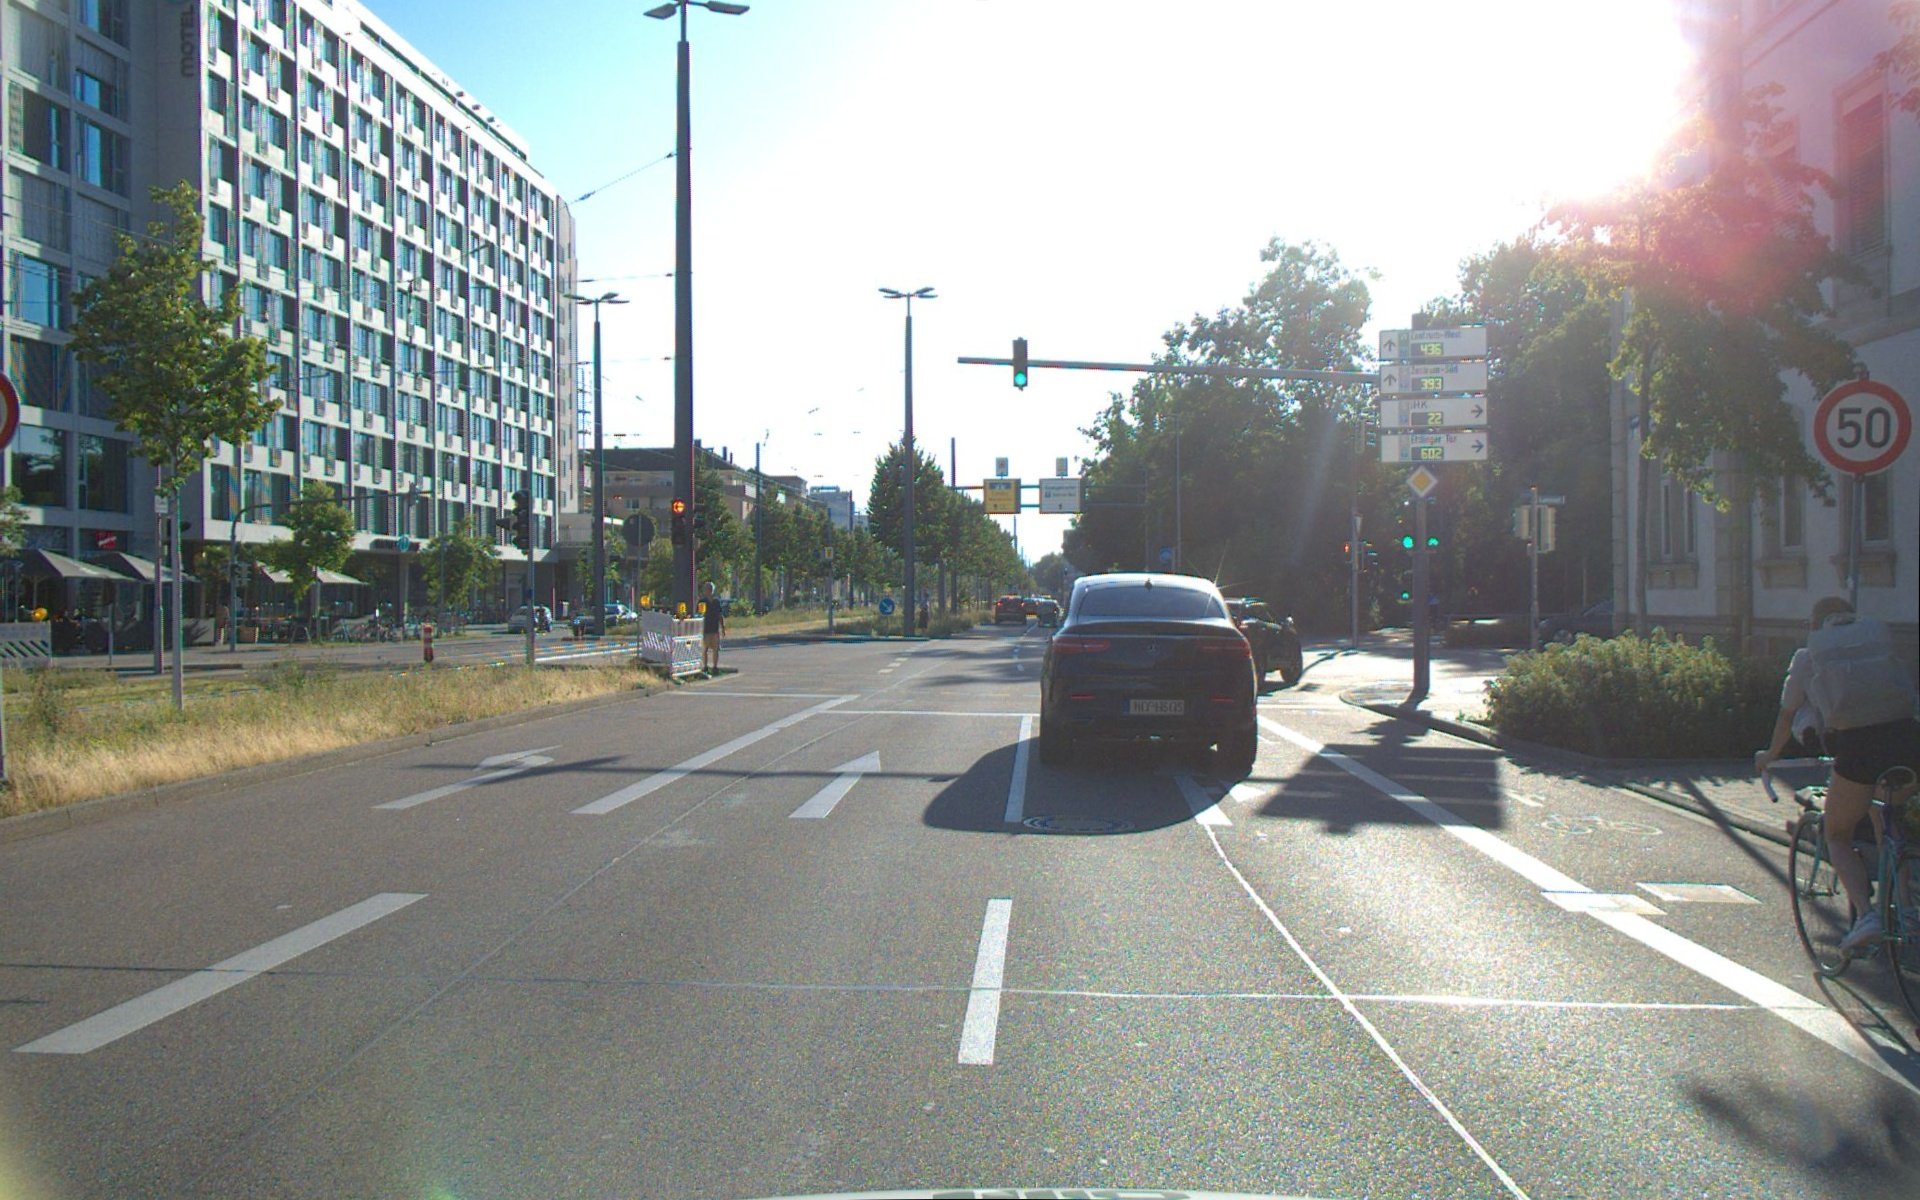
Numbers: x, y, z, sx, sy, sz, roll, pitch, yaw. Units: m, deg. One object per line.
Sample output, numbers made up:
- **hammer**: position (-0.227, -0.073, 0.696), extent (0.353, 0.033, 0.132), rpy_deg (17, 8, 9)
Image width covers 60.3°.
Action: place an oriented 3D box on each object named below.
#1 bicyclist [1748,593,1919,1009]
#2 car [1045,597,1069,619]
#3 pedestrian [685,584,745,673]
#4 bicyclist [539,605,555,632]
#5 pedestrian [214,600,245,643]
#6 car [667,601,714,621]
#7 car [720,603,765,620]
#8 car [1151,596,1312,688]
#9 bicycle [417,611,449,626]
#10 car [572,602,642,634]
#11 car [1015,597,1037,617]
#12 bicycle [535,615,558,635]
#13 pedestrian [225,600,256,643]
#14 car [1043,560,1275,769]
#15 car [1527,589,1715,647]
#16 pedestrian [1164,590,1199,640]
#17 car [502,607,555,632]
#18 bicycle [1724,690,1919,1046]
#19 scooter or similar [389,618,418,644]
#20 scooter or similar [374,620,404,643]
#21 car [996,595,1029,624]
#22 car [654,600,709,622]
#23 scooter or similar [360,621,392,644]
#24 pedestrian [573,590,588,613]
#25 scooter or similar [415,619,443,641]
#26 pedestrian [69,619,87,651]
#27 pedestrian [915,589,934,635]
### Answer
- **bicyclist**: position (3.585, 0.738, 6.607), extent (0.540, 1.517, 1.082), rpy_deg (-1, 0, 12)
- **car**: position (7.633, 0.635, 130.203), extent (1.846, 1.608, 4.002), rpy_deg (0, 1, 3)
- **pedestrian**: position (-4.686, 0.535, 31.664), extent (0.904, 1.678, 0.766), rpy_deg (-1, 0, 15)
- **bicyclist**: position (-22.741, 1.012, 91.128), extent (0.612, 1.490, 0.851), rpy_deg (-1, 0, 4)
- **pedestrian**: position (-30.011, 0.891, 67.944), extent (0.851, 1.751, 0.804), rpy_deg (-1, 0, 13)
- **car**: position (-22.543, 0.910, 138.313), extent (3.587, 1.550, 1.599), rpy_deg (2, -1, -38)
- **car**: position (-21.366, 1.148, 162.808), extent (3.960, 1.590, 1.973), rpy_deg (1, 0, -39)
- **car**: position (5.008, 0.701, 30.103), extent (1.859, 1.554, 4.056), rpy_deg (0, 0, 25)
- **bicycle**: position (-31.830, 1.108, 99.975), extent (1.768, 0.921, 0.511), rpy_deg (-1, 0, -3)
- **car**: position (-15.681, 0.777, 73.688), extent (1.851, 1.367, 4.852), rpy_deg (-1, 0, 3)
- **car**: position (5.630, 0.594, 140.376), extent (1.846, 1.608, 4.002), rpy_deg (0, 1, 3)
- **bicycle**: position (-22.756, 1.360, 91.110), extent (0.612, 1.085, 2.079), rpy_deg (-1, 0, 4)
- **pedestrian**: position (-29.886, 0.890, 68.733), extent (0.851, 1.751, 0.804), rpy_deg (-1, 0, 13)
- **car**: position (1.885, 0.520, 16.109), extent (1.951, 1.764, 4.003), rpy_deg (0, 1, 6)
- **car**: position (17.720, 0.497, 44.381), extent (4.499, 1.500, 1.900), rpy_deg (-1, -1, 28)
- **pedestrian**: position (8.202, 0.555, 61.146), extent (0.848, 1.833, 0.898), rpy_deg (-2, 0, -31)
- **car**: position (-24.913, 1.120, 95.580), extent (1.720, 1.351, 4.002), rpy_deg (1, 0, 4)
- **bicycle**: position (3.579, 0.979, 6.629), extent (0.509, 1.116, 1.844), rpy_deg (-1, 0, 11)
- **scooter or similar**: position (-26.074, 1.437, 77.521), extent (1.217, 1.192, 0.406), rpy_deg (-1, 0, 4)
- **scooter or similar**: position (-26.061, 1.451, 75.512), extent (1.217, 1.037, 0.435), rpy_deg (-1, 0, 4)
- **car**: position (3.037, 0.539, 95.446), extent (1.846, 1.608, 4.002), rpy_deg (0, 1, 3)
- **car**: position (-22.722, 0.896, 134.811), extent (4.053, 1.629, 1.727), rpy_deg (2, 0, -38)
- **scooter or similar**: position (-26.132, 1.455, 73.986), extent (1.217, 1.037, 0.511), rpy_deg (-1, 0, 4)
- **pedestrian**: position (-27.851, 0.133, 121.397), extent (0.825, 1.682, 0.970), rpy_deg (0, 0, 5)
- **scooter or similar**: position (-25.699, 1.441, 80.045), extent (1.217, 1.037, 0.435), rpy_deg (-1, 0, 4)
- **pedestrian**: position (-34.504, 1.363, 64.701), extent (0.422, 1.243, 0.497), rpy_deg (0, 0, 4)
- **pedestrian**: position (-1.331, 0.447, 62.465), extent (0.585, 1.729, 0.714), rpy_deg (-1, 0, 9)
